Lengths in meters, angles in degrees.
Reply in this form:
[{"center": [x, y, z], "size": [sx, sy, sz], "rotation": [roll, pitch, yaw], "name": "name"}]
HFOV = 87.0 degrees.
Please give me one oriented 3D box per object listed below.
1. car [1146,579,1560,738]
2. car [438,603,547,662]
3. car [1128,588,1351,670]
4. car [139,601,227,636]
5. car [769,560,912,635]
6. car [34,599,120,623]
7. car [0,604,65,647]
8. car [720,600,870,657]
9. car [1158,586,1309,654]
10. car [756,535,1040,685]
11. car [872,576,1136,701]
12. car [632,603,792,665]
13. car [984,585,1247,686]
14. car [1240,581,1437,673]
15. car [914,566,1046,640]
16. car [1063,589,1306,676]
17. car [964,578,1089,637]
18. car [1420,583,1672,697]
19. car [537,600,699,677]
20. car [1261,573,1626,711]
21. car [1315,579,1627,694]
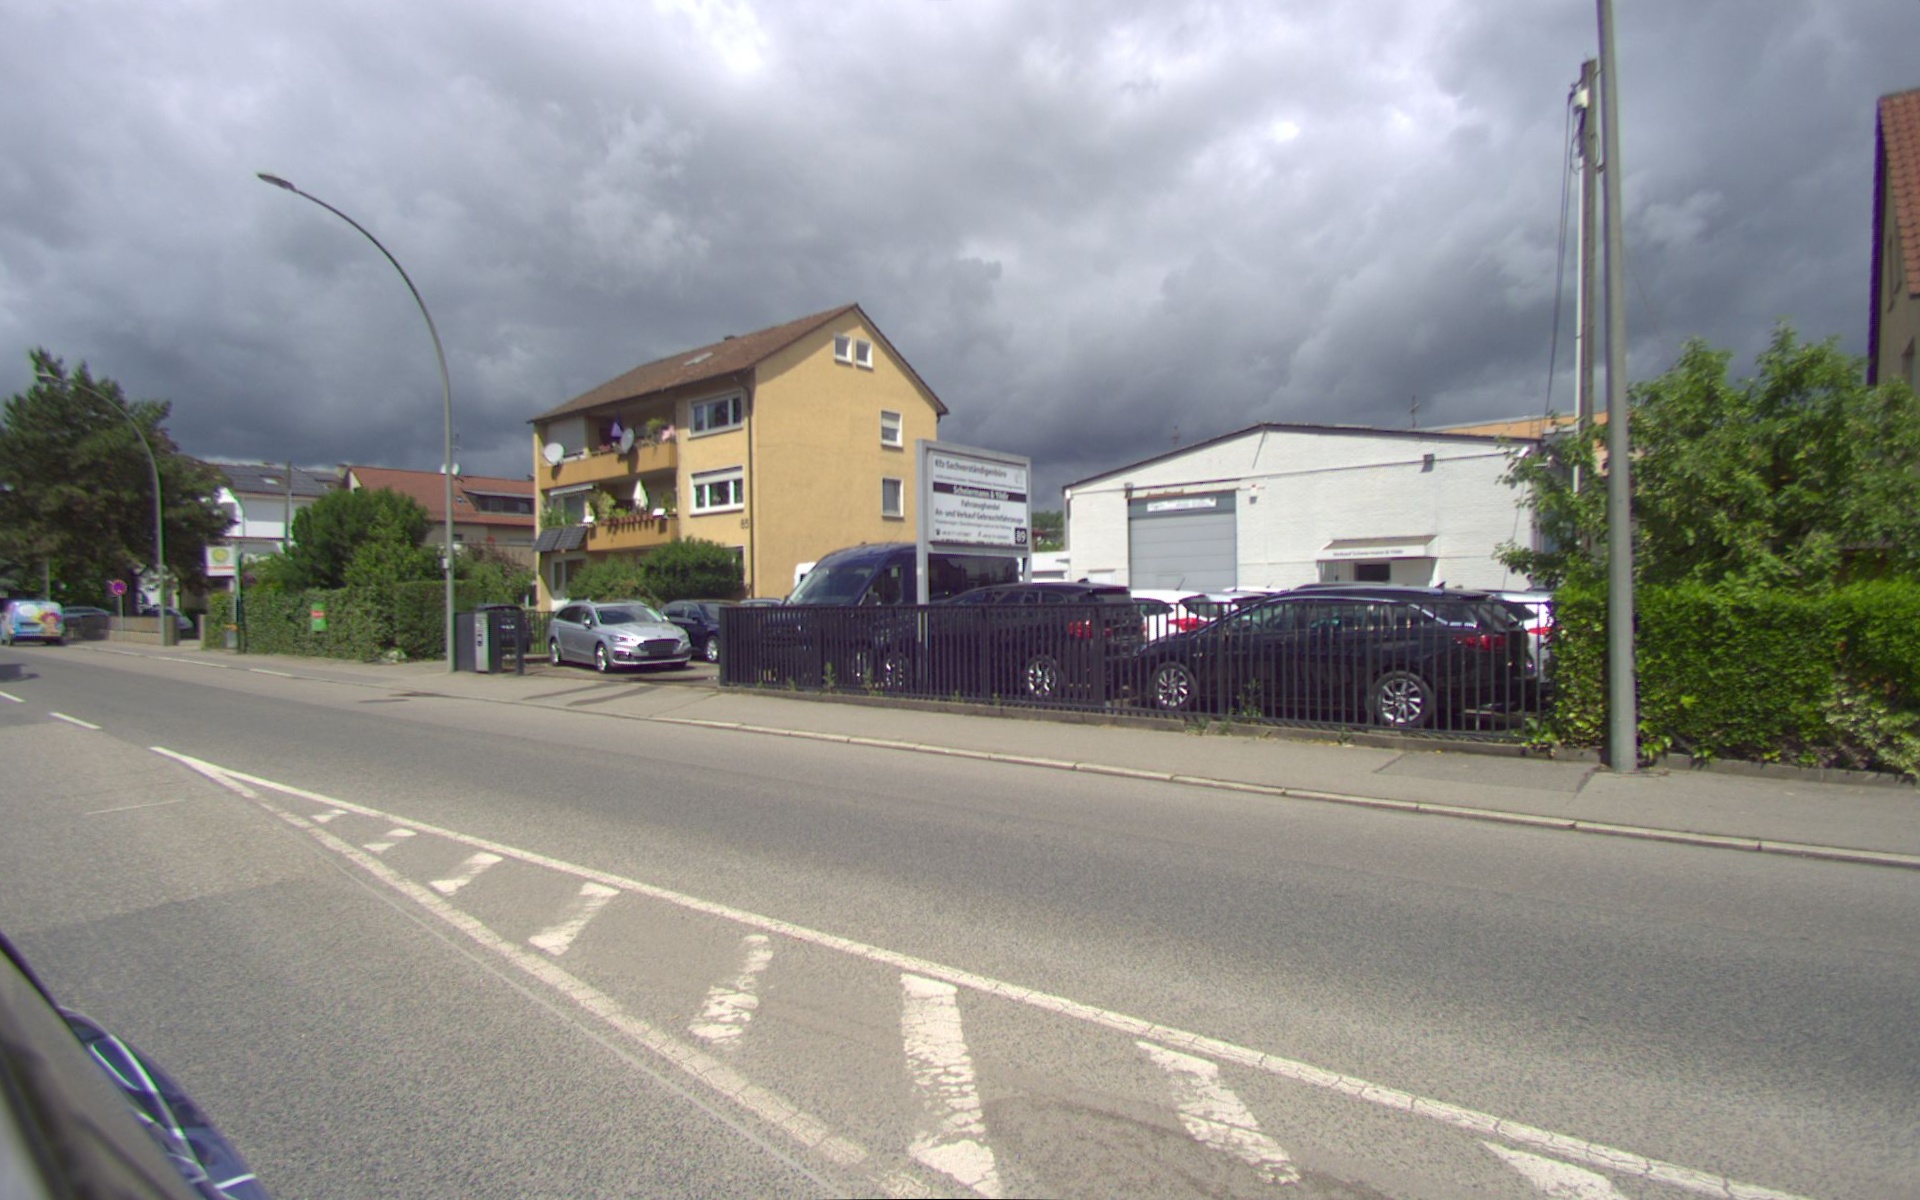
[{"center": [4.362, 0.548, 11.562], "size": [4.041, 1.494, 1.840], "rotation": [0, 0, 41], "name": "car"}, {"center": [-14.384, 0.951, 31.100], "size": [3.521, 1.678, 1.807], "rotation": [0, 0, 42], "name": "car"}, {"center": [5.559, 0.531, 20.402], "size": [3.999, 1.498, 1.742], "rotation": [0, 0, 42], "name": "car"}, {"center": [-46.132, 1.063, 60.123], "size": [3.955, 2.029, 1.994], "rotation": [0, 0, 10], "name": "car"}, {"center": [-3.486, -0.065, 29.270], "size": [3.999, 2.029, 1.972], "rotation": [0, 0, 42], "name": "car"}, {"center": [-67.950, 0.819, 77.921], "size": [2.216, 1.691, 4.675], "rotation": [0, 0, 39], "name": "car"}, {"center": [-39.293, 1.026, 42.693], "size": [3.996, 1.693, 1.708], "rotation": [0, 0, 40], "name": "car"}, {"center": [-4.453, 0.712, 26.968], "size": [3.999, 1.383, 1.858], "rotation": [0, 0, 42], "name": "car"}, {"center": [8.288, 0.573, 30.801], "size": [3.999, 1.941, 1.972], "rotation": [0, 0, 42], "name": "car"}, {"center": [-0.981, 0.135, 18.870], "size": [2.104, 2.402, 5.292], "rotation": [0, 0, 43], "name": "car"}, {"center": [0.586, 0.496, 15.045], "size": [3.620, 1.633, 1.790], "rotation": [0, 0, 42], "name": "car"}, {"center": [-6.053, 0.757, 24.483], "size": [3.999, 1.352, 1.860], "rotation": [0, 0, 42], "name": "car"}, {"center": [2.497, 0.521, 16.779], "size": [3.999, 1.470, 1.795], "rotation": [0, 0, 42], "name": "car"}, {"center": [9.035, 0.589, 24.304], "size": [3.999, 2.029, 1.972], "rotation": [0, 0, 42], "name": "car"}, {"center": [0.604, 0.090, 33.001], "size": [3.999, 2.286, 1.972], "rotation": [0, 0, 42], "name": "car"}, {"center": [4.005, 0.526, 18.431], "size": [3.999, 1.423, 1.716], "rotation": [0, 0, 42], "name": "car"}, {"center": [2.264, 0.246, 35.090], "size": [3.999, 1.941, 1.972], "rotation": [0, 0, 42], "name": "car"}, {"center": [11.496, 0.705, 19.971], "size": [3.999, 2.029, 1.972], "rotation": [0, 0, 42], "name": "car"}, {"center": [-7.575, 0.761, 22.185], "size": [1.861, 1.470, 4.357], "rotation": [-2, 1, -40], "name": "car"}, {"center": [6.326, 0.465, 13.467], "size": [3.999, 1.552, 1.972], "rotation": [0, 0, 42], "name": "car"}, {"center": [7.900, 0.491, 15.829], "size": [3.999, 1.560, 1.972], "rotation": [0, 0, 42], "name": "car"}]
